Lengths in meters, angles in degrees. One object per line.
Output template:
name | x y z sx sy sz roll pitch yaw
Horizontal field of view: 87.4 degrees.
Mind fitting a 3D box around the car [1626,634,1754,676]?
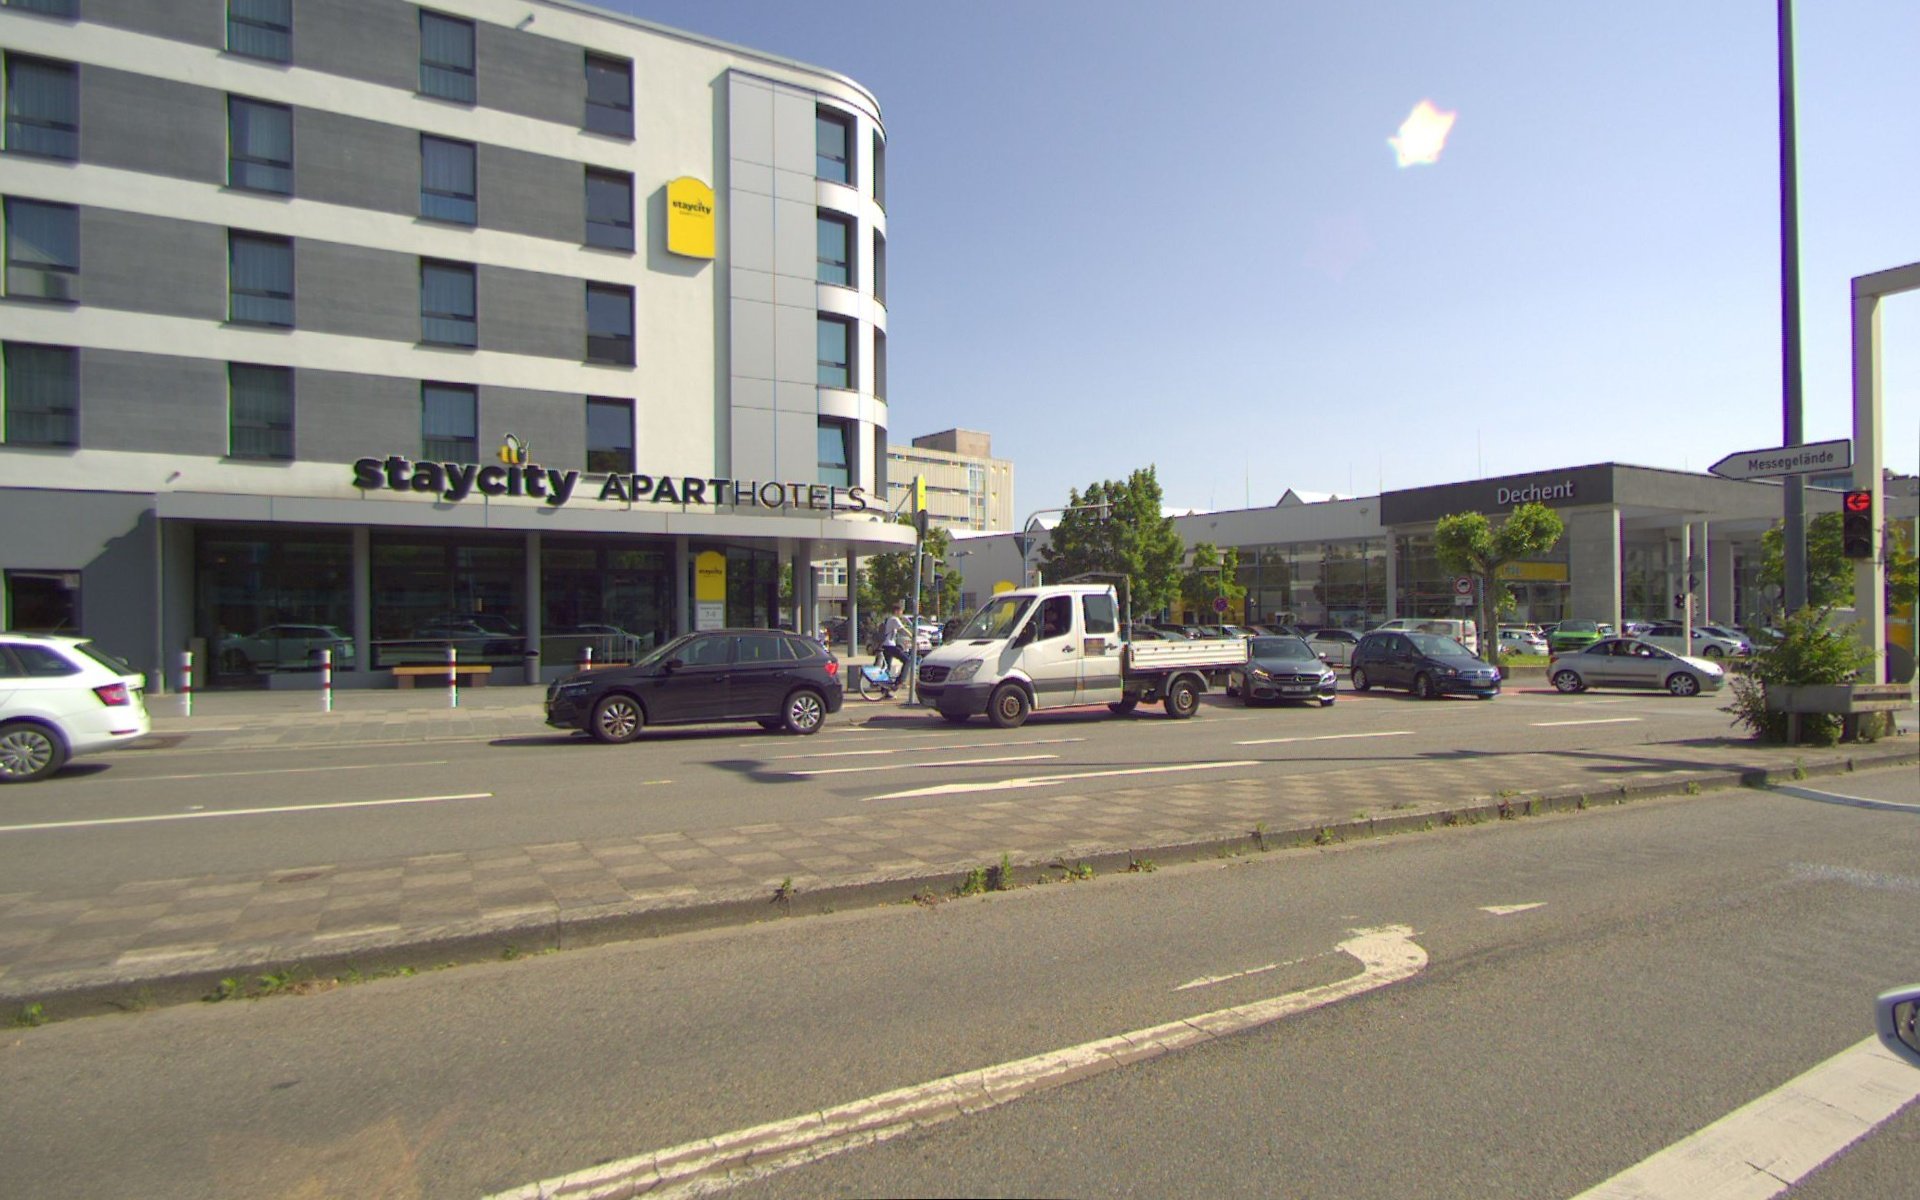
car | 30.526 2.247 42.113 1.981 1.620 3.959 1 -2 -36

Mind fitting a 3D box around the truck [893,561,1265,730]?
truck | 2.197 0.778 17.806 6.355 2.579 2.348 1 -1 -28

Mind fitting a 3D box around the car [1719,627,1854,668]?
car | 37.418 2.128 45.581 1.978 1.719 4.333 2 -1 -32

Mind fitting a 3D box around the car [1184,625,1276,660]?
car | 13.775 2.147 51.423 1.980 1.719 4.328 1 -2 -35

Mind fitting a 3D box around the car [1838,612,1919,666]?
car | 49.066 1.999 52.380 2.096 2.720 4.490 1 -1 -21

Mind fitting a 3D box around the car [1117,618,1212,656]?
car | 9.793 1.756 48.405 1.980 1.719 4.328 1 -2 -35

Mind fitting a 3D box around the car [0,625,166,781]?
car | -10.685 1.016 9.880 4.370 1.505 1.980 2 -5 -36

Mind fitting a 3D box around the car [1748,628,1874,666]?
car | 41.556 2.259 49.167 1.978 1.719 4.333 1 -2 -32

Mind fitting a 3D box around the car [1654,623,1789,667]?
car | 32.822 1.906 43.409 1.978 1.789 4.274 1 -2 -32

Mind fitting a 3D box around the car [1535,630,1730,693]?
car | 17.486 1.542 26.207 3.943 1.349 1.989 2 0 43

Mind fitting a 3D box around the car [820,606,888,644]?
car | -6.735 1.552 63.497 1.985 2.158 4.565 2 0 -42

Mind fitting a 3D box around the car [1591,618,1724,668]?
car | 27.331 1.654 39.479 1.978 1.862 3.849 1 -2 -32

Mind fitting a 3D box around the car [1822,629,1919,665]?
car | 46.996 2.352 51.113 1.972 1.719 4.345 1 -1 -24

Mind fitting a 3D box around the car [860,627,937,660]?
car | -2.959 2.038 47.477 1.762 1.457 3.873 1 -2 -38

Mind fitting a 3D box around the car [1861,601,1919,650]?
car | 53.217 1.419 55.743 1.973 2.635 4.345 1 -1 -24

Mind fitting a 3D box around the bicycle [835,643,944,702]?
bicycle | -1.405 1.441 20.343 2.141 1.131 0.762 2 -2 -37

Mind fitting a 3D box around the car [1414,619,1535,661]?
car | 22.440 1.707 43.920 1.982 1.719 4.323 1 -2 -38

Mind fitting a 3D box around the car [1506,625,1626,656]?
car | 27.846 1.877 46.252 1.982 1.284 4.325 4 -4 -37

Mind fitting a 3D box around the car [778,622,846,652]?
car | -8.042 1.977 54.317 1.979 1.466 4.331 2 -1 -33

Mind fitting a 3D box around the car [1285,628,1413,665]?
car | 15.058 1.789 39.108 1.980 1.317 4.328 1 -2 -35

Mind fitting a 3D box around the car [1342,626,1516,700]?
car | 11.436 1.489 24.836 1.858 1.639 4.126 1 -1 -11

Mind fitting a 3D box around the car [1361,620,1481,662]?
car | 19.812 1.734 43.301 1.982 1.719 4.323 1 -2 -38

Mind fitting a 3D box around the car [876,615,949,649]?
car | -2.833 1.857 59.333 1.971 1.815 4.376 2 0 -42

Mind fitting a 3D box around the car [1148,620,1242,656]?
car | 11.594 1.839 49.728 1.980 1.719 4.328 1 -2 -35

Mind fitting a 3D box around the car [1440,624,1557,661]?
car | 24.531 1.909 45.865 1.982 1.612 4.325 1 -2 -37

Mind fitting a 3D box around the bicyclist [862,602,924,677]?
bicyclist | -1.357 0.788 20.385 1.017 1.479 0.762 1 -1 -37

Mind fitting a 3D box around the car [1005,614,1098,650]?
car | 4.545 1.569 50.231 4.304 1.719 1.991 -1 -2 39

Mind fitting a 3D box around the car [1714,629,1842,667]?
car | 38.755 2.243 47.700 1.978 1.719 4.333 1 -2 -32

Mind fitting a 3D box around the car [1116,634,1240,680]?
car | 7.535 1.937 35.038 1.980 1.461 3.961 1 -2 -35

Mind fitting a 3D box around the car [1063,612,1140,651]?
car | 7.735 1.716 55.288 1.983 2.040 3.956 2 -2 -38

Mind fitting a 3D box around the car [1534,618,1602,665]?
car | 23.973 1.645 39.704 1.870 1.756 3.293 0 -3 23

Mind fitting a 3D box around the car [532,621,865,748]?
car | -3.786 1.178 14.694 4.360 1.598 1.985 1 -4 -30

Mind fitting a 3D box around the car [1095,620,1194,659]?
car | 8.369 1.771 45.941 1.980 1.719 4.328 1 -2 -35

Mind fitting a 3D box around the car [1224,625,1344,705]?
car | 6.952 1.335 21.929 1.866 1.378 4.002 3 1 10

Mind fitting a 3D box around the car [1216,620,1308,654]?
car | 15.791 1.911 52.679 1.982 1.719 4.324 1 -2 -37

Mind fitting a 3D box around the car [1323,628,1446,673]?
car | 17.471 2.020 41.477 1.980 1.719 4.328 1 -2 -35

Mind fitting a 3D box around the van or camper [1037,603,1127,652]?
van or camper | 6.383 1.438 52.984 1.983 2.432 4.678 1 -2 -38
